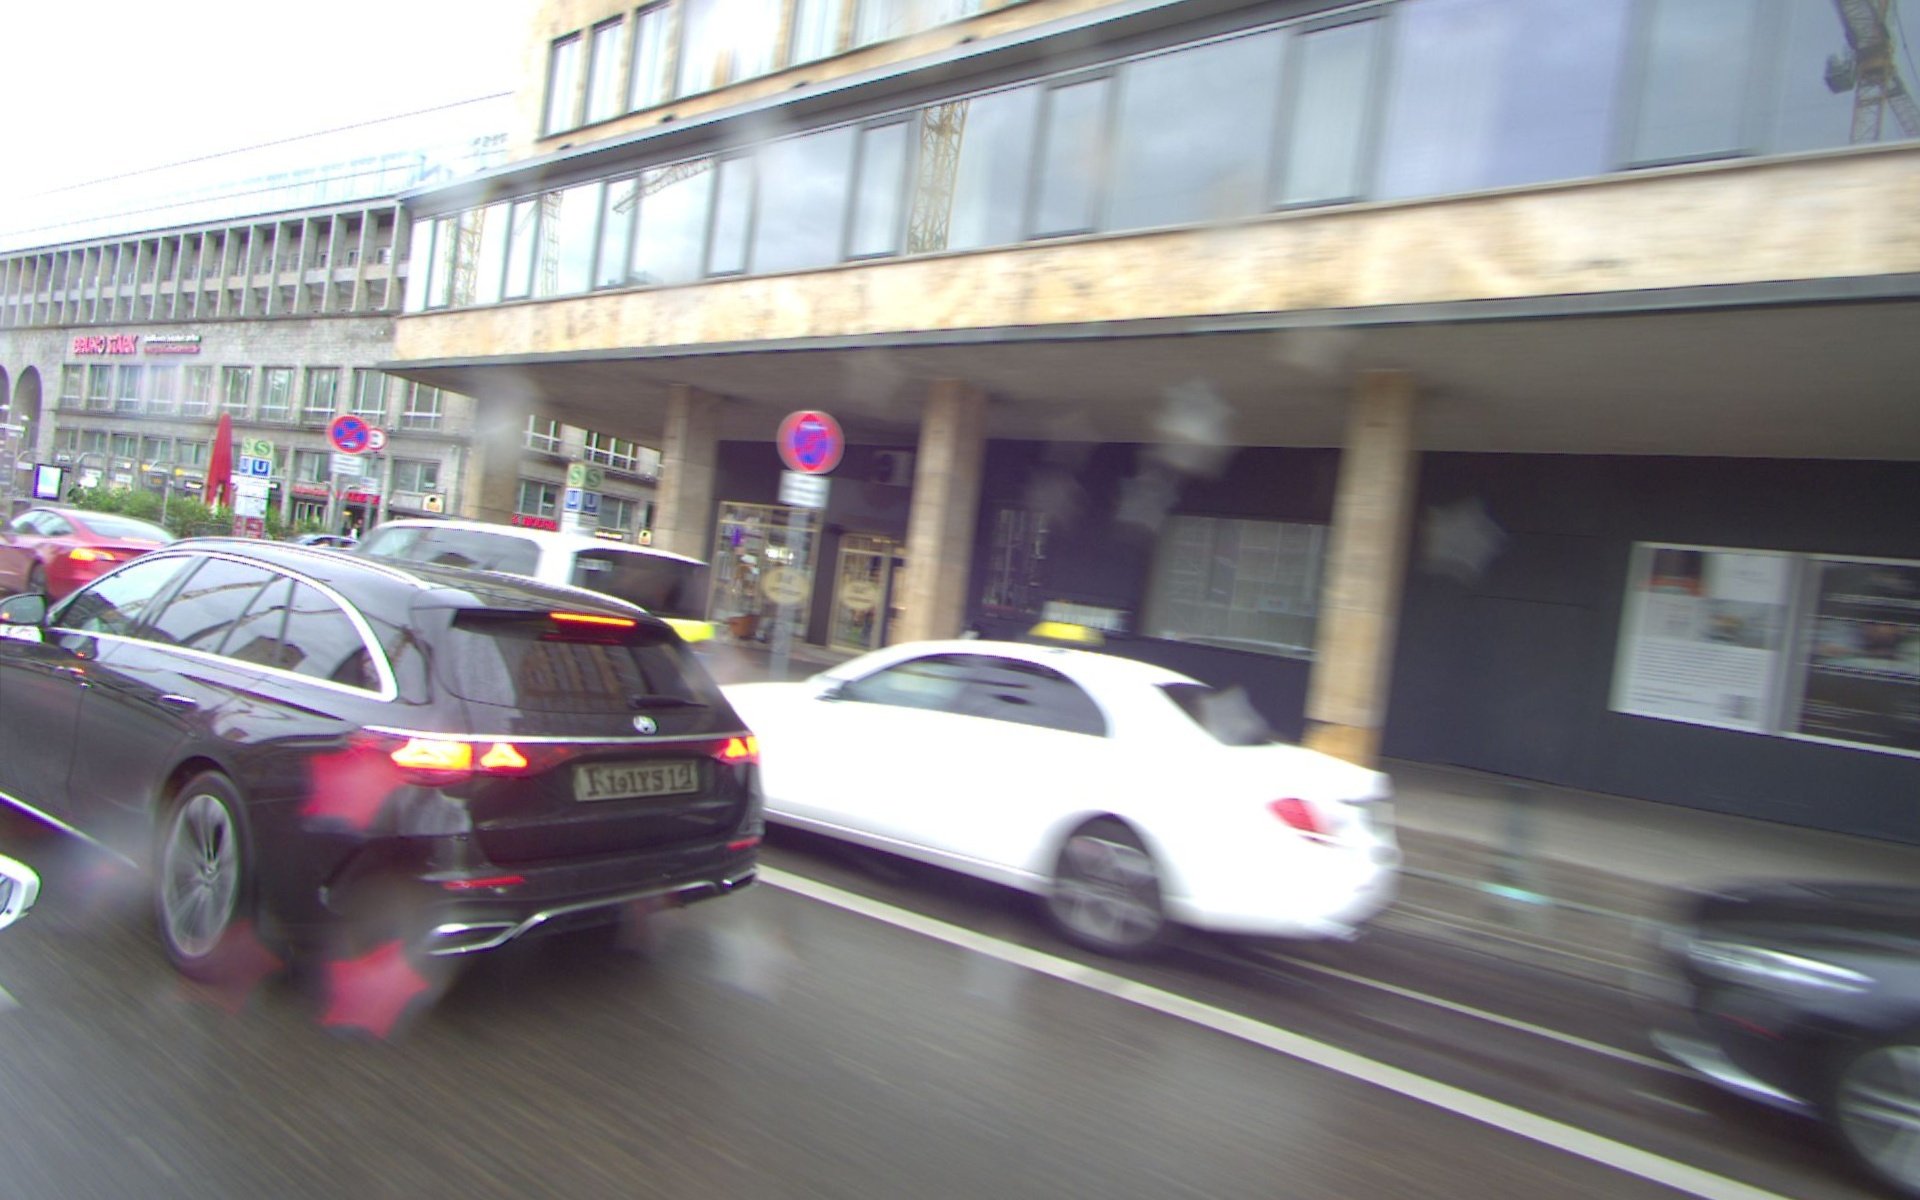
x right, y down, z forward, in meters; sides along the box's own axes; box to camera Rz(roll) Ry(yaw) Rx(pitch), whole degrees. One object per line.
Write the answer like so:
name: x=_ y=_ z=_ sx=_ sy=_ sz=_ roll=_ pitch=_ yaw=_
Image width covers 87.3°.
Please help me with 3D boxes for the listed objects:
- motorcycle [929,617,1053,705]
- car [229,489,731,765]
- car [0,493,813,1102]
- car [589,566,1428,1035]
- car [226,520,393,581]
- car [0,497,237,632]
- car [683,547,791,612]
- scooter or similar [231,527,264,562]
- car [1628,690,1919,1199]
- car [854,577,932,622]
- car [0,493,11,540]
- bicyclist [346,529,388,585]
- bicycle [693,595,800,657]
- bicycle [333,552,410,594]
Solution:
motorcycle: x=0.504 y=1.024 z=17.227 sx=2.074 sy=1.232 sz=0.567 roll=6 pitch=-2 yaw=40
car: x=-4.751 y=0.157 z=9.711 sx=4.854 sy=1.942 sz=1.878 roll=6 pitch=-2 yaw=32
car: x=-3.078 y=0.462 z=4.675 sx=4.553 sy=1.519 sz=1.796 roll=6 pitch=-2 yaw=33
car: x=0.109 y=0.914 z=6.436 sx=4.928 sy=1.656 sz=1.878 roll=6 pitch=-2 yaw=32
car: x=-23.307 y=-1.746 z=36.227 sx=1.730 sy=1.414 sz=4.641 roll=6 pitch=-2 yaw=33
car: x=-12.924 y=-0.590 z=14.935 sx=4.451 sy=1.503 sz=1.878 roll=6 pitch=-2 yaw=32
car: x=-12.437 y=-1.101 z=56.572 sx=1.966 sy=2.792 sz=6.182 roll=7 pitch=-2 yaw=31
scooter or similar: x=-27.014 y=-2.118 z=38.144 sx=1.000 sy=1.203 sz=0.291 roll=7 pitch=-1 yaw=14
car: x=5.172 y=1.475 z=3.296 sx=4.734 sy=1.656 sz=1.878 roll=6 pitch=-2 yaw=32
car: x=-3.707 y=0.013 z=56.372 sx=1.966 sy=1.995 sz=4.638 roll=7 pitch=-1 yaw=29
car: x=-30.960 y=-2.810 z=29.378 sx=4.364 sy=1.414 sz=1.743 roll=9 pitch=-2 yaw=-35
bicyclist: x=-17.955 y=-1.295 z=30.477 sx=0.601 sy=1.558 sz=0.719 roll=7 pitch=-1 yaw=13
bicycle: x=-4.708 y=0.558 z=22.070 sx=2.431 sy=1.058 sz=0.657 roll=6 pitch=-1 yaw=32
bicycle: x=-17.966 y=-0.796 z=30.760 sx=0.581 sy=1.021 sz=2.217 roll=7 pitch=-2 yaw=13
